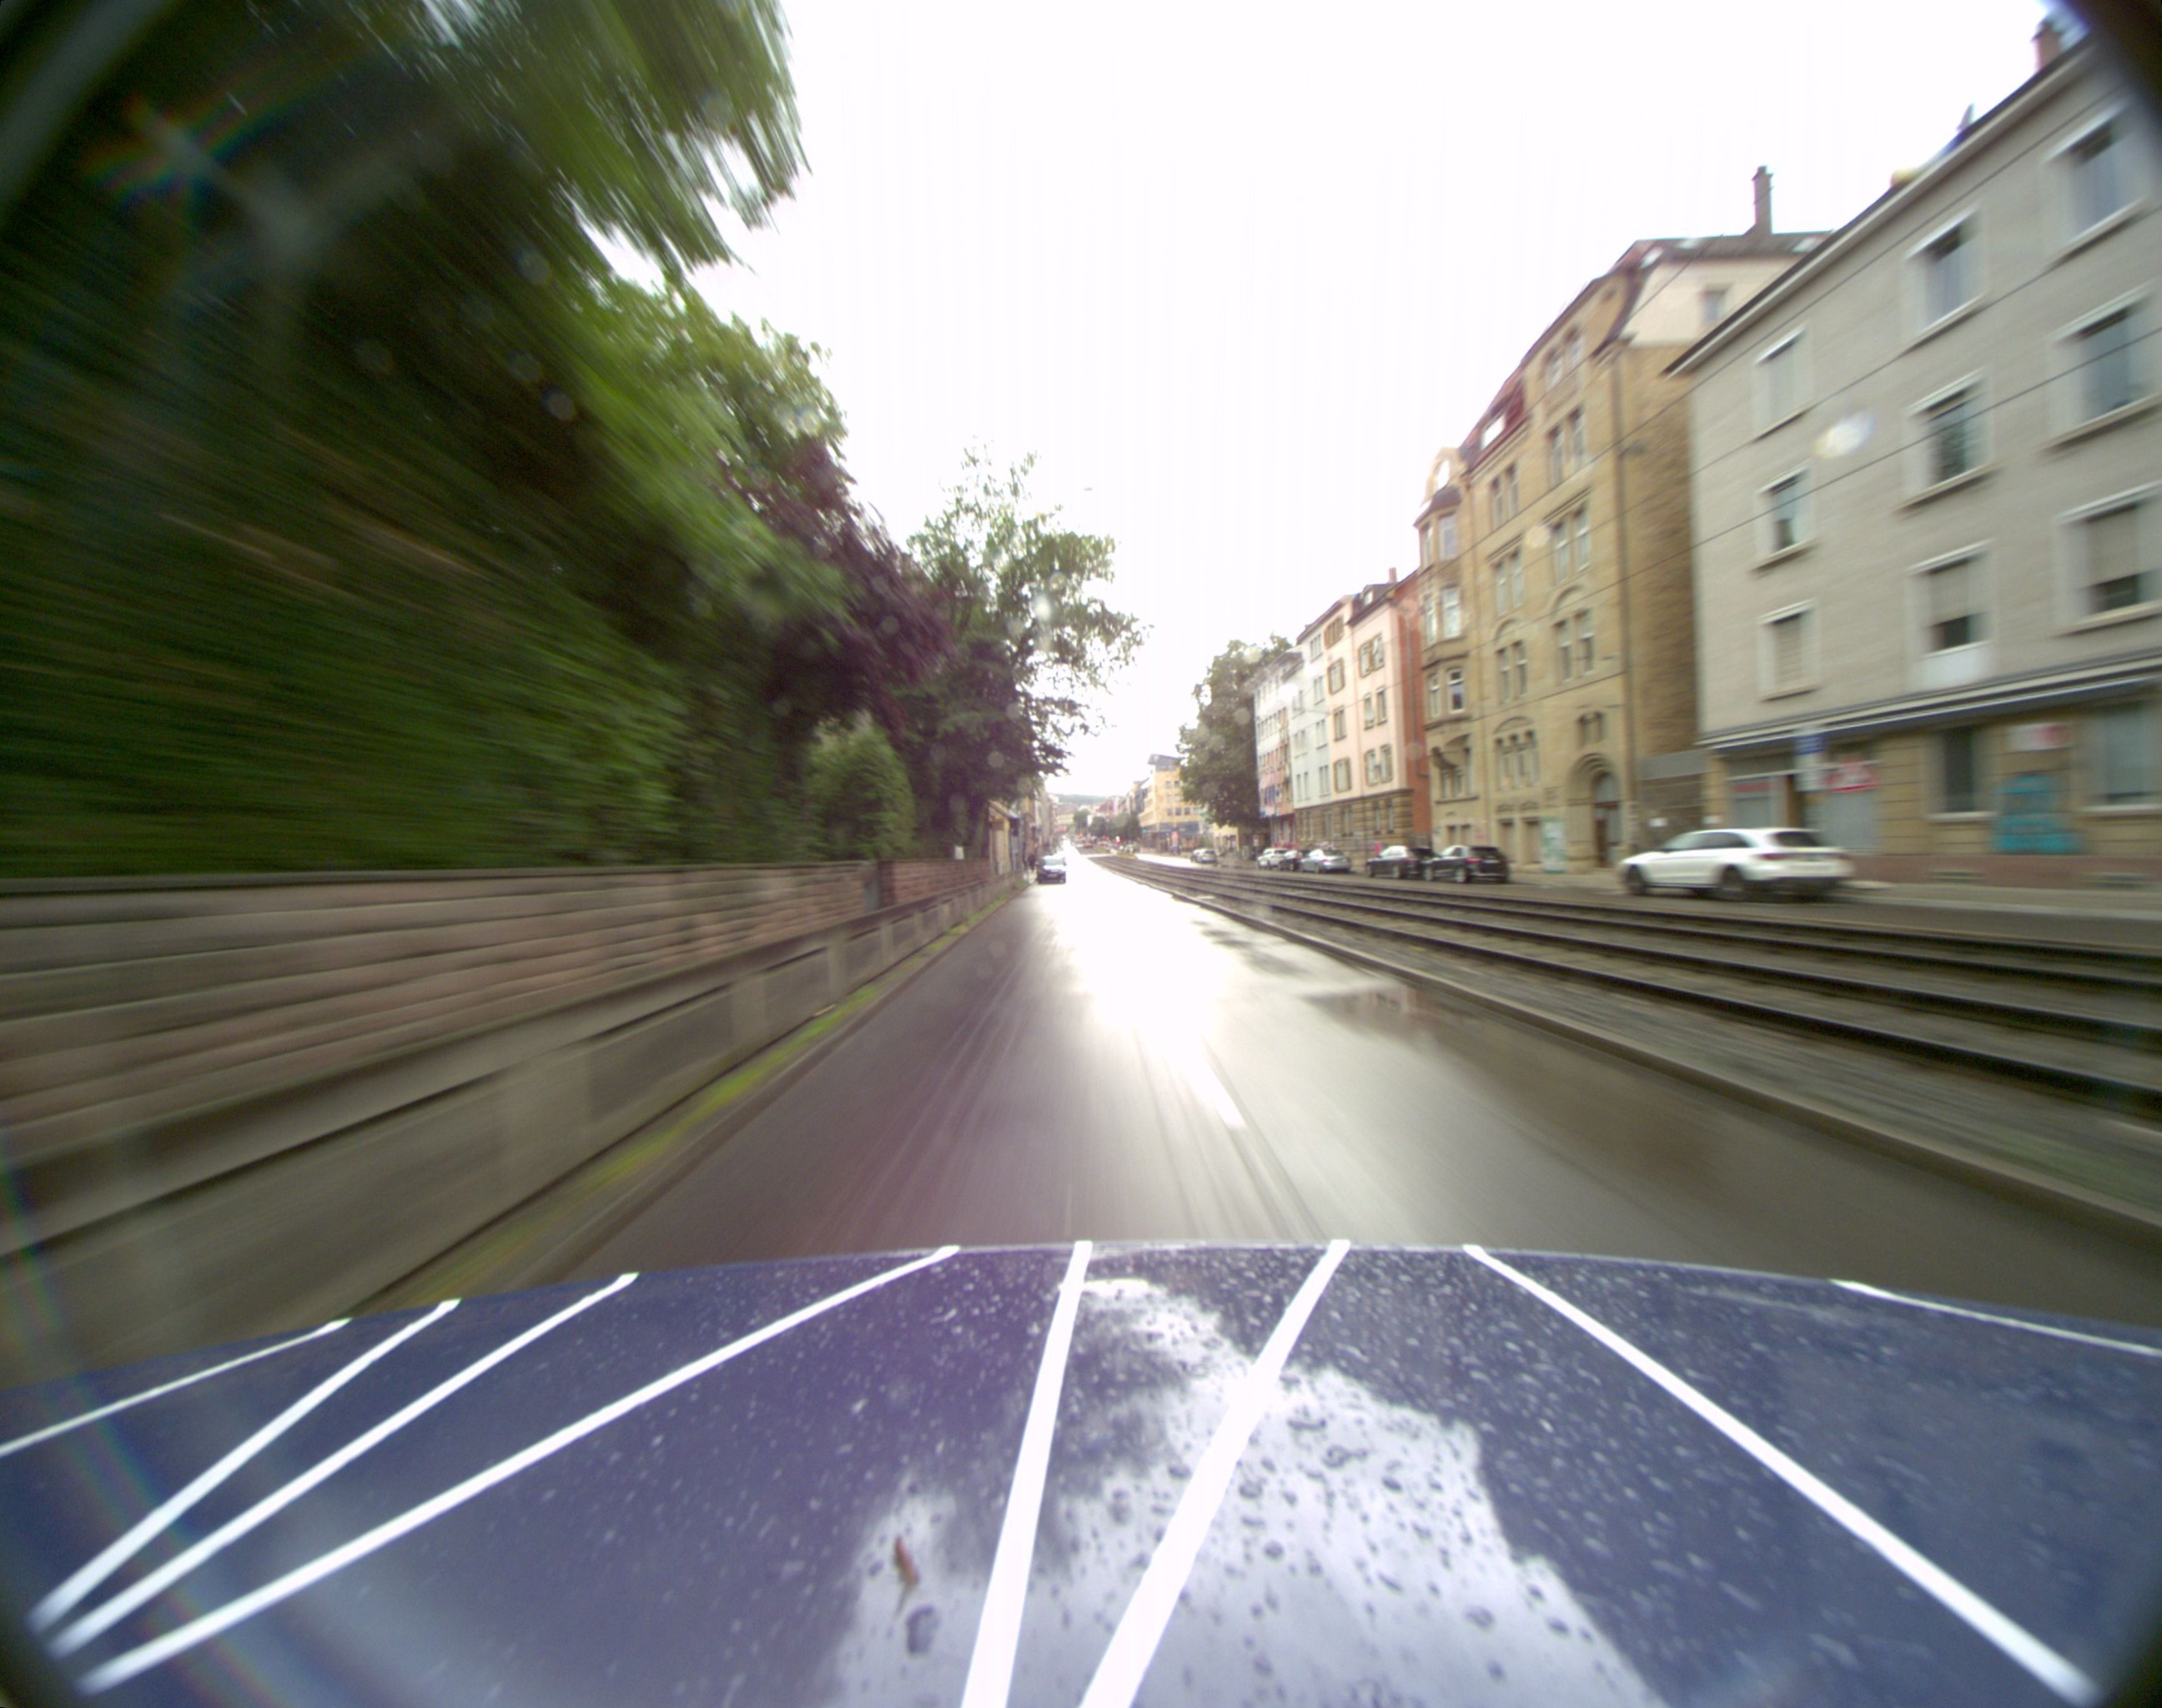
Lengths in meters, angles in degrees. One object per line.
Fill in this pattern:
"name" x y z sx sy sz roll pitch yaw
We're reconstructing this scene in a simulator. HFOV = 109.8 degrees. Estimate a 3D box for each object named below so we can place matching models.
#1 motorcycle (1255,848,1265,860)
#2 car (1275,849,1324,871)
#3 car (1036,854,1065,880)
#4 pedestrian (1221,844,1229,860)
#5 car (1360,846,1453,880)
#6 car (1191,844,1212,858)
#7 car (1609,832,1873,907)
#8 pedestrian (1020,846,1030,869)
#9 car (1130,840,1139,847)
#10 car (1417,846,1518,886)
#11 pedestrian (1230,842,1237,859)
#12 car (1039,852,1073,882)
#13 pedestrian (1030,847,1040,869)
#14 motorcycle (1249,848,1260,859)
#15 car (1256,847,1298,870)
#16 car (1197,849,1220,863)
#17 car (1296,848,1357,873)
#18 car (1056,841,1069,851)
"motorcycle" 18.753 -0.005 79.582 0.437 1.174 2.017 -3 1 0
"car" 14.558 0.359 50.824 1.843 1.389 4.264 -1 1 -2
"car" -1.997 0.803 49.544 1.760 1.521 4.332 -3 1 -2
"pedestrian" 16.559 -0.256 87.201 0.809 1.858 0.536 -2 1 3
"car" 14.767 0.359 34.863 1.999 1.447 5.021 0 0 -1
"car" 14.208 -0.374 89.824 1.843 1.532 4.227 -1 1 0
"car" 15.106 0.306 17.861 1.999 1.527 4.748 0 0 -1
"pedestrian" -4.853 0.314 66.250 0.765 1.902 0.588 -3 1 -3
"car" 13.858 -2.815 196.430 1.999 1.674 3.999 -3 1 0
"car" 14.893 0.422 29.561 1.741 1.447 4.169 0 0 -1
"pedestrian" 17.379 -0.379 86.857 0.651 1.858 0.536 -2 1 3
"car" -1.407 0.731 44.001 1.788 1.521 4.244 -3 1 0
"pedestrian" -4.006 0.321 66.282 0.716 1.879 0.599 -3 1 -3
"motorcycle" 18.878 -0.049 82.739 0.472 1.139 2.565 -3 1 0
"car" 14.561 0.287 56.598 1.843 1.596 4.227 -1 1 -2
"car" 14.253 0.186 85.173 1.843 1.532 4.227 -1 1 0
"car" 14.607 0.365 45.542 1.999 1.389 5.021 0 0 0
"car" -3.097 -1.327 129.837 1.999 1.674 4.124 -3 1 0
